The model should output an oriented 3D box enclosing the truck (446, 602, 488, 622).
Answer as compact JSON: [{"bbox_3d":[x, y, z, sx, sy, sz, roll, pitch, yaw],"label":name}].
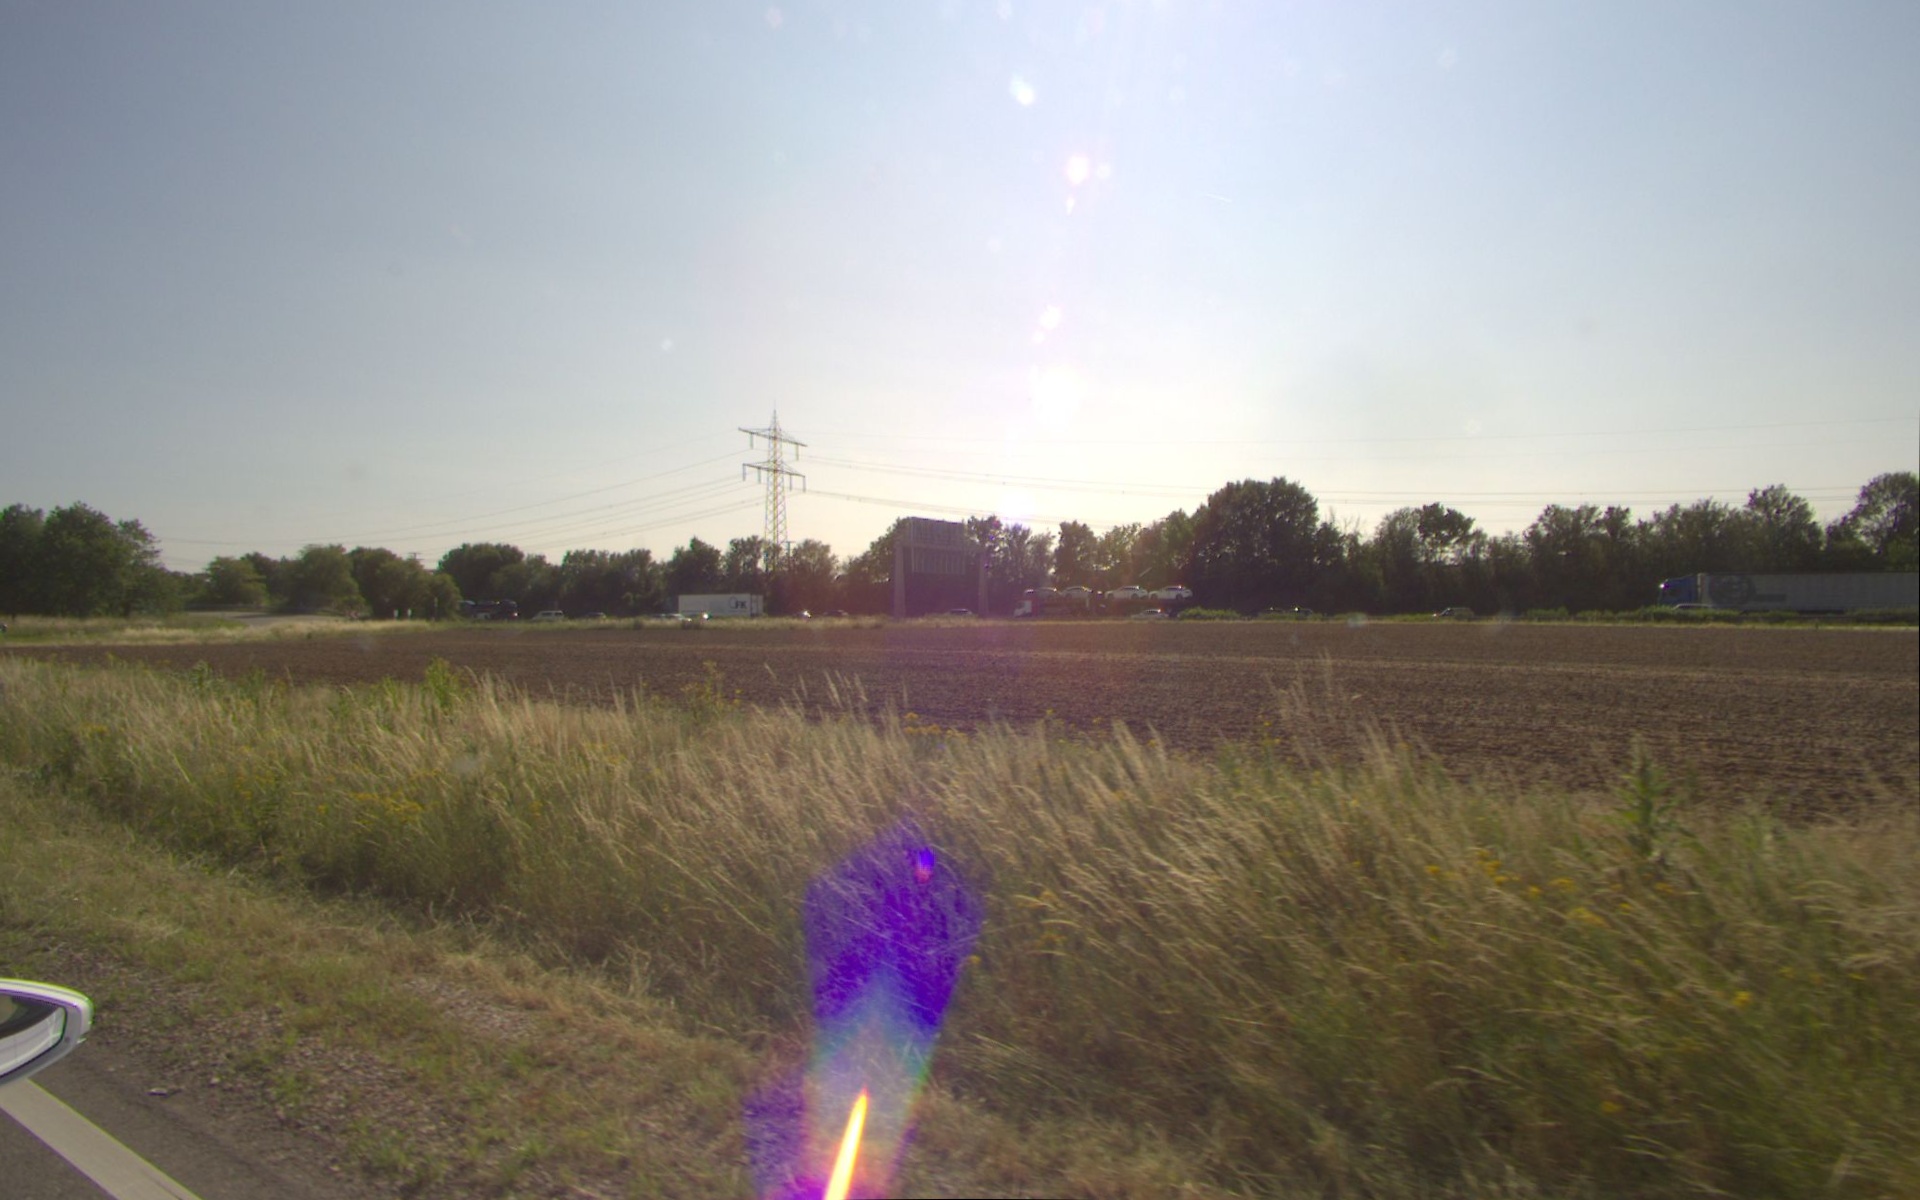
[{"bbox_3d":[-82.040,1.983,166.659,6.333,3.310,3.279,0,0,31],"label":"truck"}]

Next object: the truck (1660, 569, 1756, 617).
[{"bbox_3d":[60.524,-0.509,81.223,6.001,3.782,3.065,0,0,33],"label":"truck"}]

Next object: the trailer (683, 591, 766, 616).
[{"bbox_3d":[-32.509,0.481,137.843,12.272,3.310,3.279,-1,0,31],"label":"trailer"}]

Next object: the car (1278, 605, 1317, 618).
[{"bbox_3d":[30.590,1.068,90.788,3.135,1.166,1.392,0,-1,32],"label":"car"}]

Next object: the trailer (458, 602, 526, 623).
[{"bbox_3d":[-76.401,1.982,163.279,13.253,3.310,3.279,0,0,31],"label":"trailer"}]

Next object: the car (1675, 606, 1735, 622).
[{"bbox_3d":[56.139,1.020,75.511,3.530,1.166,1.392,0,-1,32],"label":"car"}]

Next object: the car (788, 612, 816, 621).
[{"bbox_3d":[-20.421,2.144,129.366,3.527,1.166,1.393,0,-1,30],"label":"car"}]

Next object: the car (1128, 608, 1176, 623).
[{"bbox_3d":[18.878,1.506,98.518,4.185,1.403,1.848,0,-1,32],"label":"car"}]

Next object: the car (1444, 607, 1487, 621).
[{"bbox_3d":[42.747,1.188,84.647,3.135,1.166,1.392,0,-1,32],"label":"car"}]

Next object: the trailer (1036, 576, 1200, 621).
[{"bbox_3d":[16.767,-0.053,107.622,17.301,4.512,3.416,-1,0,30],"label":"trailer"}]

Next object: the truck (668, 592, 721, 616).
[{"bbox_3d":[-37.370,0.547,140.737,6.876,3.310,3.279,-1,0,31],"label":"truck"}]

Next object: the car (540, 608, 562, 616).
[{"bbox_3d":[-59.200,1.718,144.872,3.135,1.166,1.392,0,-1,32],"label":"car"}]

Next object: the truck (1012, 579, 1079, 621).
[{"bbox_3d":[9.553,0.039,111.752,6.606,4.512,3.416,-1,1,30],"label":"truck"}]

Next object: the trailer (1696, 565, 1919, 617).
[{"bbox_3d":[65.679,-0.571,77.809,13.438,3.782,3.065,0,0,33],"label":"trailer"}]
